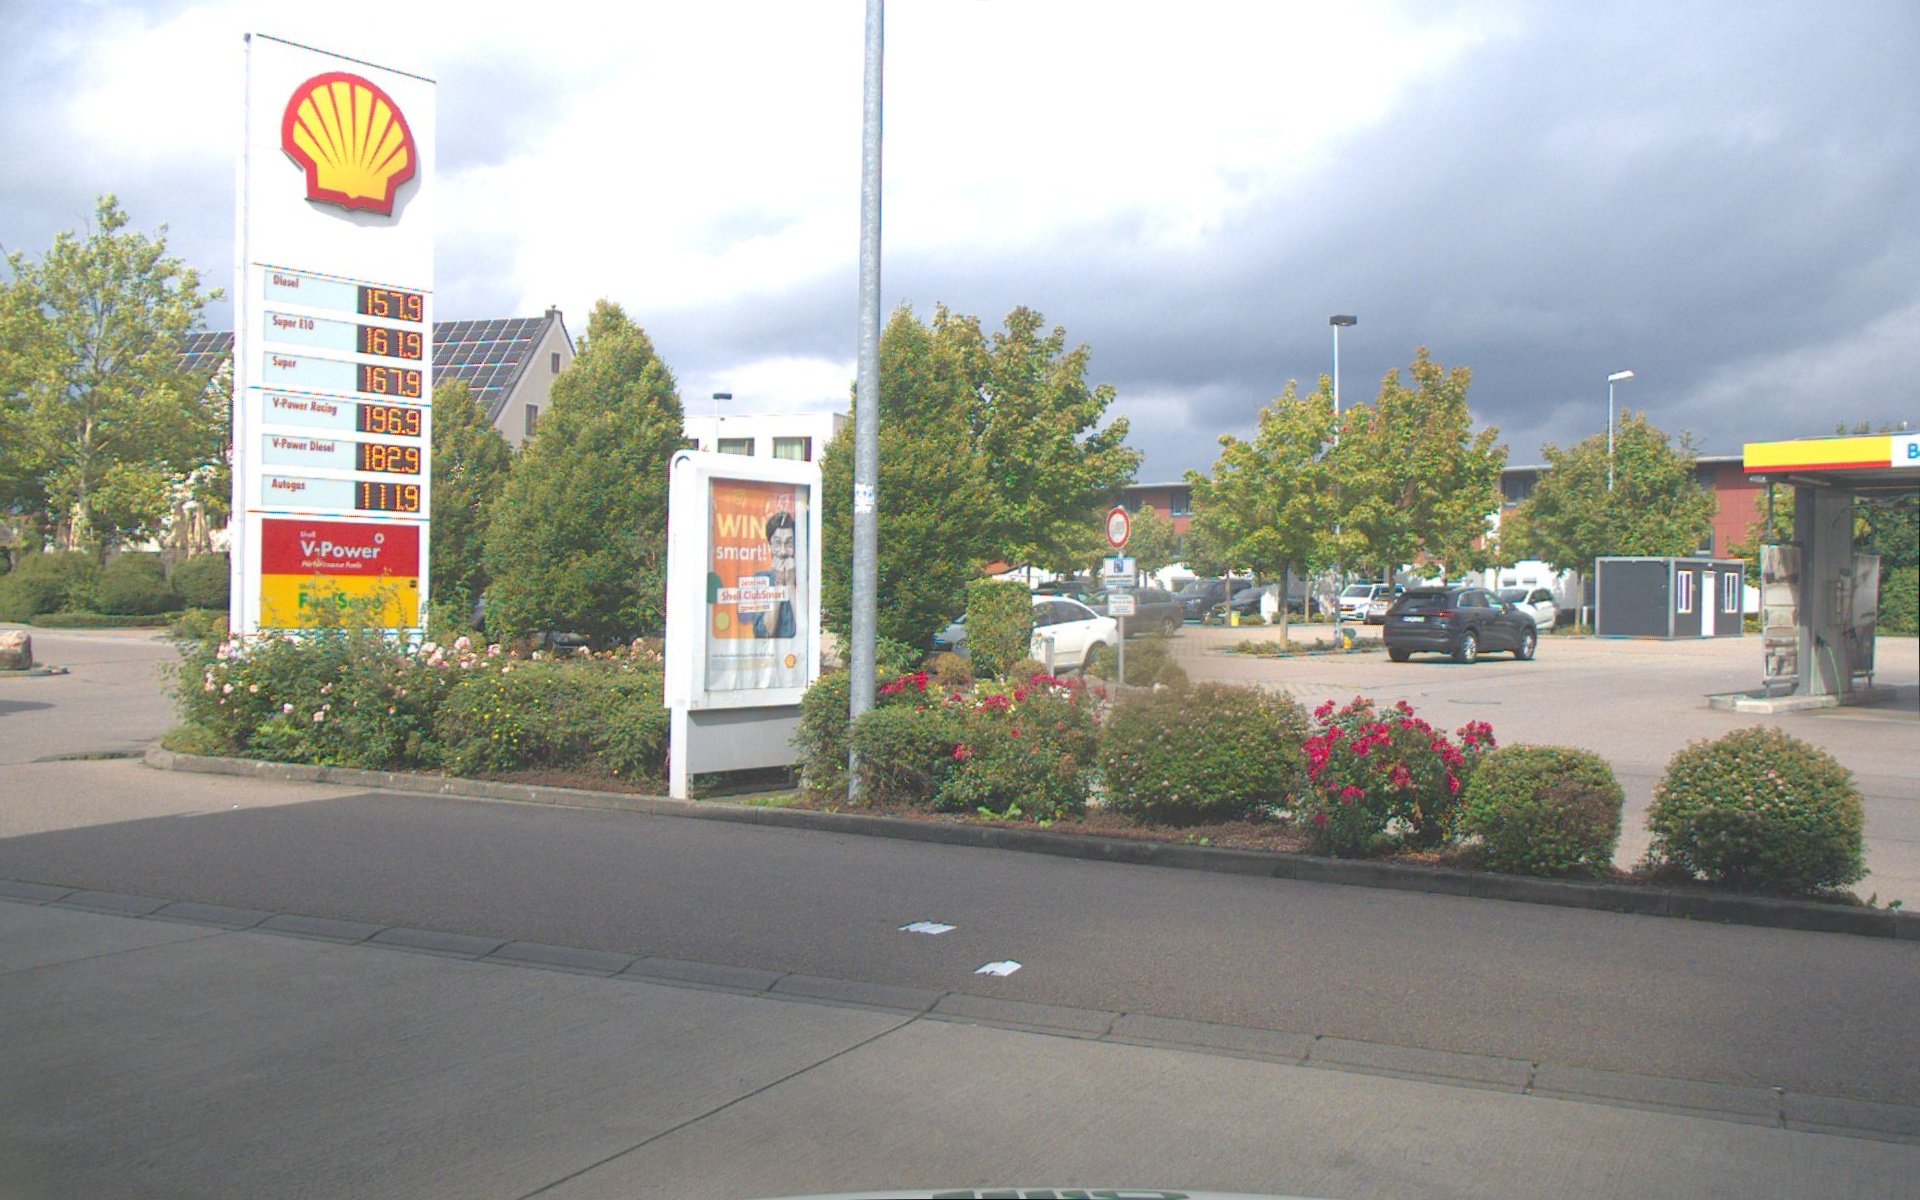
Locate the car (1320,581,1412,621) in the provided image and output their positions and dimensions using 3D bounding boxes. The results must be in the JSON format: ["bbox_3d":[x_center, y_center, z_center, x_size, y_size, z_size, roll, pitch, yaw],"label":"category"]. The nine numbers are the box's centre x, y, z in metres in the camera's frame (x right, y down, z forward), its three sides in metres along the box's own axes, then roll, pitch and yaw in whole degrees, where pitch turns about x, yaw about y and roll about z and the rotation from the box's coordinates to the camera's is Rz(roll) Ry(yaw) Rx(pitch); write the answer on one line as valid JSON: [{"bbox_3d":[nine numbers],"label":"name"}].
[{"bbox_3d":[19.917,0.037,80.956,4.839,1.865,2.150,1,0,-44],"label":"car"}]

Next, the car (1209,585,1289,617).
[{"bbox_3d":[11.416,0.042,65.219,3.393,1.199,1.462,1,0,-45],"label":"car"}]

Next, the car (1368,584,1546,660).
[{"bbox_3d":[11.137,0.487,36.903,4.467,1.575,1.856,1,0,-44],"label":"car"}]

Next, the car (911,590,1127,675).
[{"bbox_3d":[1.140,0.577,29.945,1.348,1.428,4.312,1,-1,45],"label":"car"}]

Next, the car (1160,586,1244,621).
[{"bbox_3d":[9.815,0.145,66.941,3.364,1.343,1.719,1,0,-45],"label":"car"}]

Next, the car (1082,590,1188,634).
[{"bbox_3d":[5.284,0.368,49.801,3.203,1.249,1.481,1,0,-45],"label":"car"}]

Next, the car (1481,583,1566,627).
[{"bbox_3d":[18.012,0.172,52.816,3.080,1.330,1.346,1,-1,-45],"label":"car"}]
